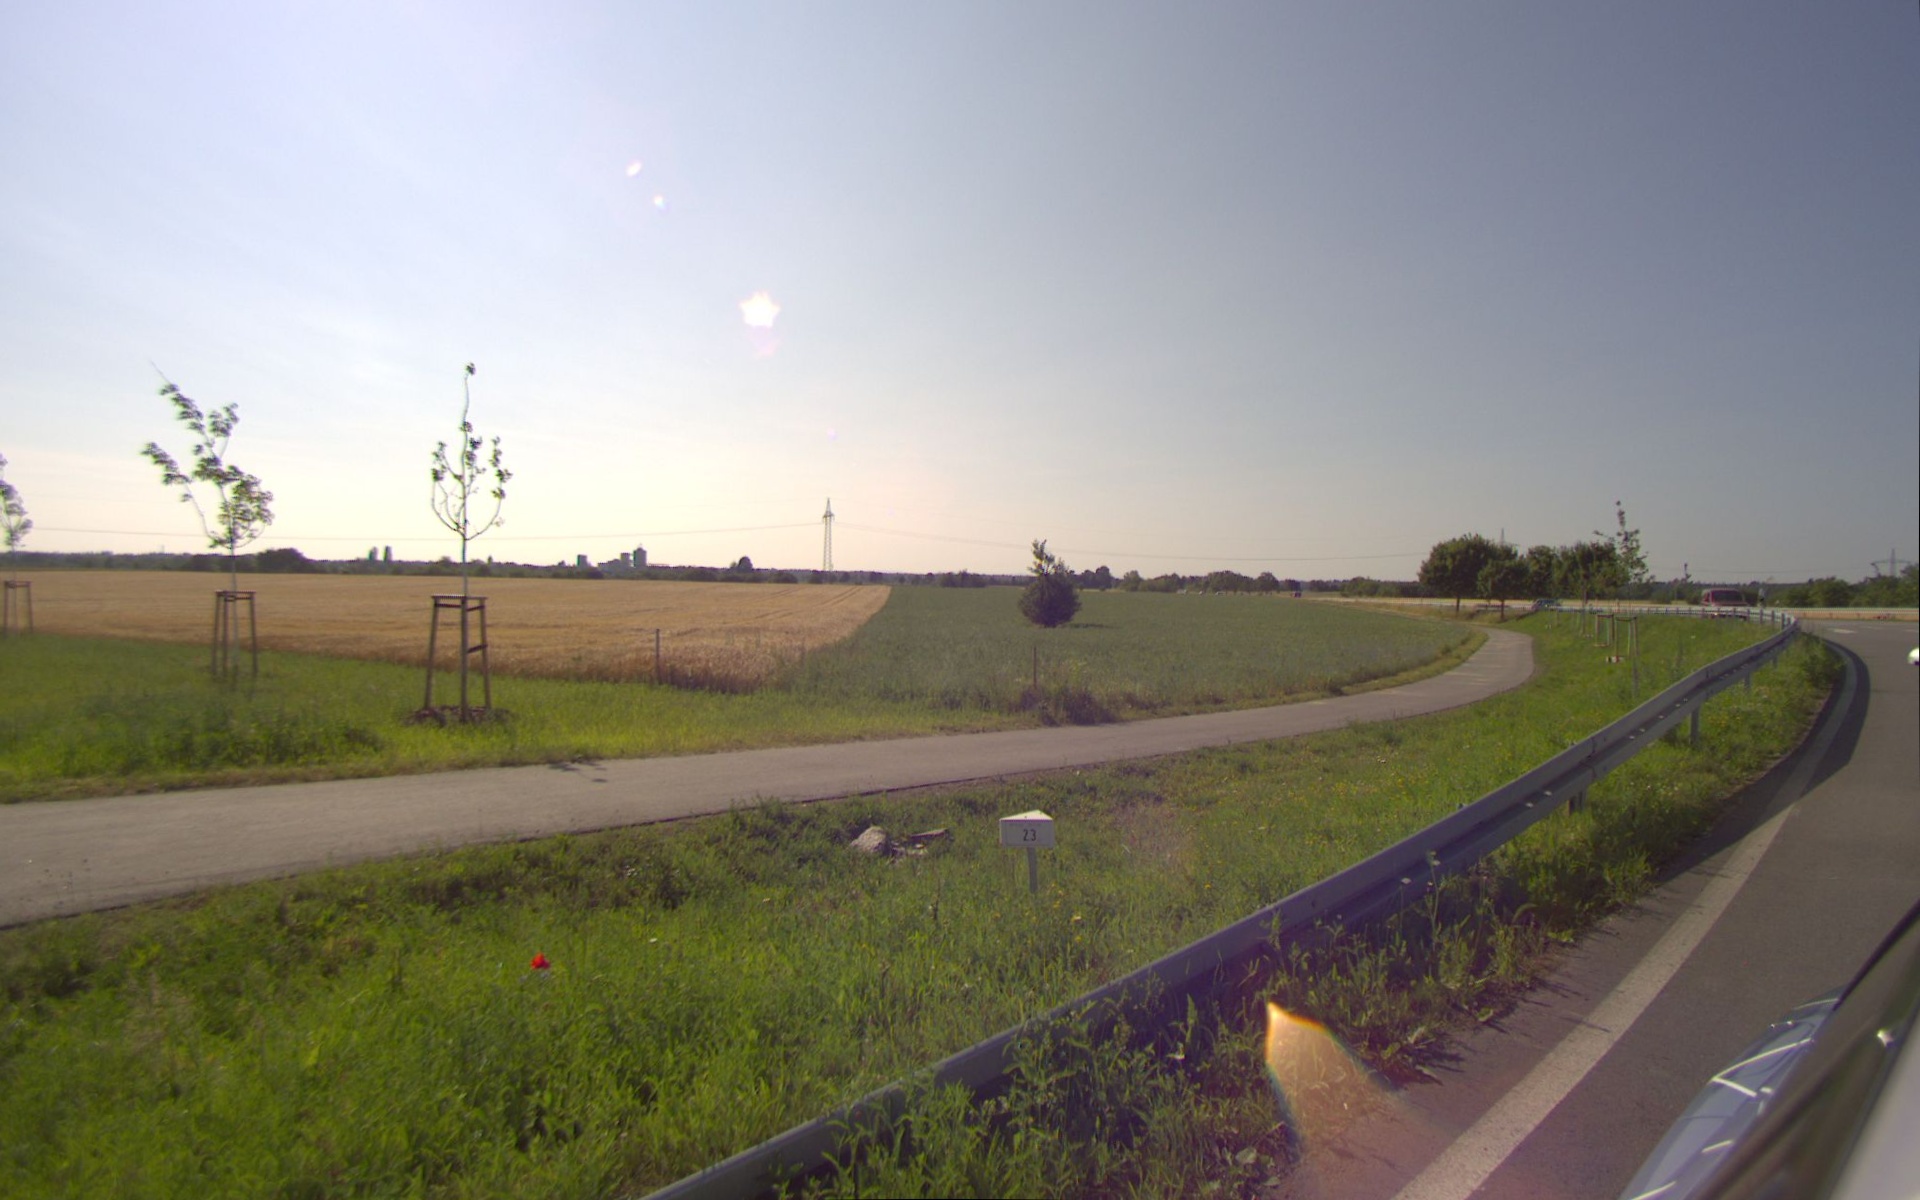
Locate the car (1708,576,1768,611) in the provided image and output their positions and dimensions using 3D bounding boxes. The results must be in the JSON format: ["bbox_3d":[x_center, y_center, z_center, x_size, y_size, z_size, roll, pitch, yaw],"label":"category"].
[{"bbox_3d":[42.713,-0.386,55.643,1.677,1.860,4.656,1,1,26],"label":"car"}]
